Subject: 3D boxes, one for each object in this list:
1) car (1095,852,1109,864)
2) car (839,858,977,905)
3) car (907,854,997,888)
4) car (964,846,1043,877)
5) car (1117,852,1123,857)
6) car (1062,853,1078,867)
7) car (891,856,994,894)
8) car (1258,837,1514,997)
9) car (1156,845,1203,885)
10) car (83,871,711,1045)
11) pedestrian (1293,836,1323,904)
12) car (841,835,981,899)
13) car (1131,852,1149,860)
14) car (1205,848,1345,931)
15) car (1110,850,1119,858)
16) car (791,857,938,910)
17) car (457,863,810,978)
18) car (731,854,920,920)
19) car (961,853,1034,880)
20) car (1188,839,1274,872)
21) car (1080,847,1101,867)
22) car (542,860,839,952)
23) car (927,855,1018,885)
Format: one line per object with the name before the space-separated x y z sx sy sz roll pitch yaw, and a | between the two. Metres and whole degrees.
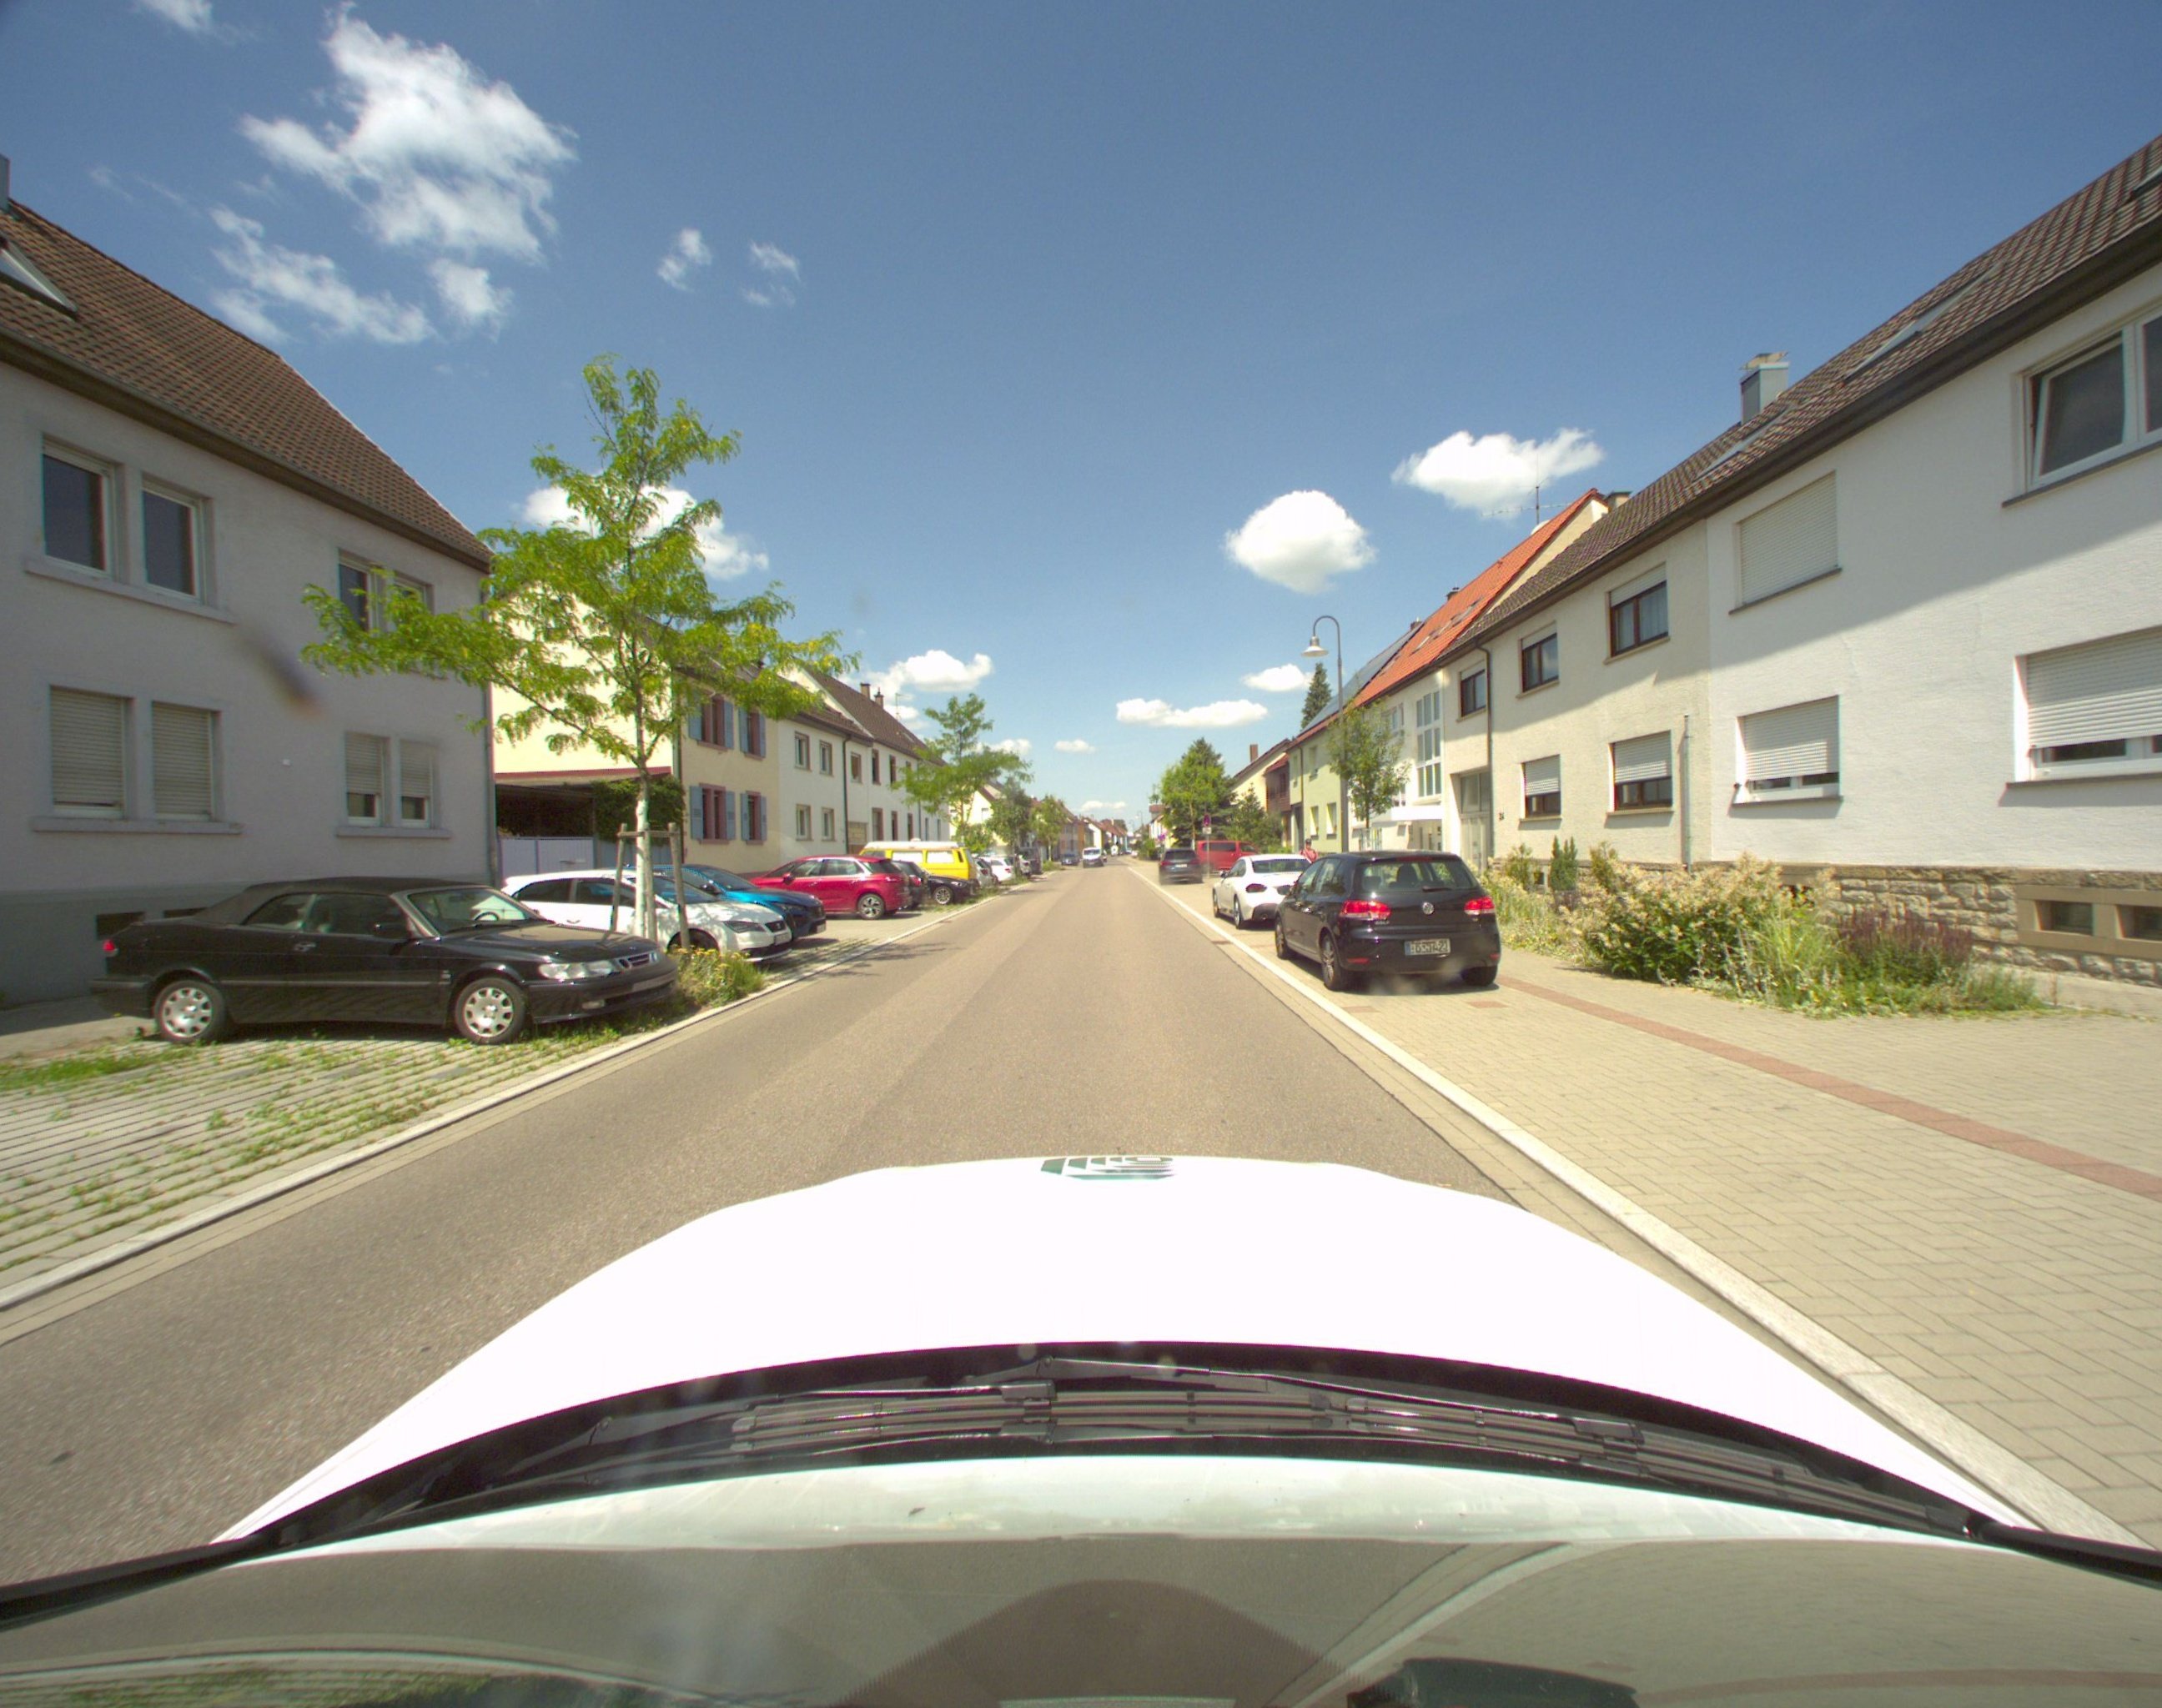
car | 2.743 0.543 106.655 1.756 1.523 4.050 -3 0 1
car | -5.502 0.865 26.235 3.995 1.459 1.756 0 0 1
car | -5.709 0.739 36.330 3.875 1.468 1.655 0 -1 -7
car | -4.830 0.469 50.925 4.682 1.923 1.938 0 -1 1
car | 11.329 0.109 236.614 1.683 1.504 3.777 0 -1 6
car | -1.320 0.671 96.003 1.811 1.433 4.139 2 1 -1
car | -5.597 0.832 33.349 4.067 1.468 1.749 0 0 -7
car | 3.407 0.620 9.953 1.760 1.529 4.009 -1 0 2
car | 4.452 0.444 37.265 1.856 1.635 4.451 -4 0 4
car | -6.213 0.907 7.794 4.507 1.425 1.796 0 0 1
pedestrian | 5.981 0.427 21.489 0.555 1.749 0.673 -2 -1 2
car | -5.928 0.443 28.836 4.491 2.177 1.926 0 0 1
car | 11.612 0.442 160.473 3.509 1.464 1.629 0 -1 2
car | 3.824 0.639 16.898 1.826 1.465 4.519 -1 0 0
car | 8.856 0.008 214.812 2.035 2.312 3.777 0 -1 6
car | -6.211 0.837 23.685 3.780 1.459 1.754 0 0 -1
car | -6.224 0.883 11.687 4.042 1.478 1.775 0 0 -1
car | -6.469 0.805 20.919 4.238 1.611 1.843 0 0 1
car | -4.888 0.749 48.238 4.172 1.569 1.772 0 -1 -2
car | 8.575 0.099 46.814 4.603 1.893 2.020 0 -1 0
car | 1.007 0.307 82.353 2.015 1.950 4.899 -2 -1 1
car | -6.772 0.869 14.484 4.392 1.478 1.774 0 0 -2
car | -5.477 0.793 41.367 4.276 1.468 1.775 0 -1 3
